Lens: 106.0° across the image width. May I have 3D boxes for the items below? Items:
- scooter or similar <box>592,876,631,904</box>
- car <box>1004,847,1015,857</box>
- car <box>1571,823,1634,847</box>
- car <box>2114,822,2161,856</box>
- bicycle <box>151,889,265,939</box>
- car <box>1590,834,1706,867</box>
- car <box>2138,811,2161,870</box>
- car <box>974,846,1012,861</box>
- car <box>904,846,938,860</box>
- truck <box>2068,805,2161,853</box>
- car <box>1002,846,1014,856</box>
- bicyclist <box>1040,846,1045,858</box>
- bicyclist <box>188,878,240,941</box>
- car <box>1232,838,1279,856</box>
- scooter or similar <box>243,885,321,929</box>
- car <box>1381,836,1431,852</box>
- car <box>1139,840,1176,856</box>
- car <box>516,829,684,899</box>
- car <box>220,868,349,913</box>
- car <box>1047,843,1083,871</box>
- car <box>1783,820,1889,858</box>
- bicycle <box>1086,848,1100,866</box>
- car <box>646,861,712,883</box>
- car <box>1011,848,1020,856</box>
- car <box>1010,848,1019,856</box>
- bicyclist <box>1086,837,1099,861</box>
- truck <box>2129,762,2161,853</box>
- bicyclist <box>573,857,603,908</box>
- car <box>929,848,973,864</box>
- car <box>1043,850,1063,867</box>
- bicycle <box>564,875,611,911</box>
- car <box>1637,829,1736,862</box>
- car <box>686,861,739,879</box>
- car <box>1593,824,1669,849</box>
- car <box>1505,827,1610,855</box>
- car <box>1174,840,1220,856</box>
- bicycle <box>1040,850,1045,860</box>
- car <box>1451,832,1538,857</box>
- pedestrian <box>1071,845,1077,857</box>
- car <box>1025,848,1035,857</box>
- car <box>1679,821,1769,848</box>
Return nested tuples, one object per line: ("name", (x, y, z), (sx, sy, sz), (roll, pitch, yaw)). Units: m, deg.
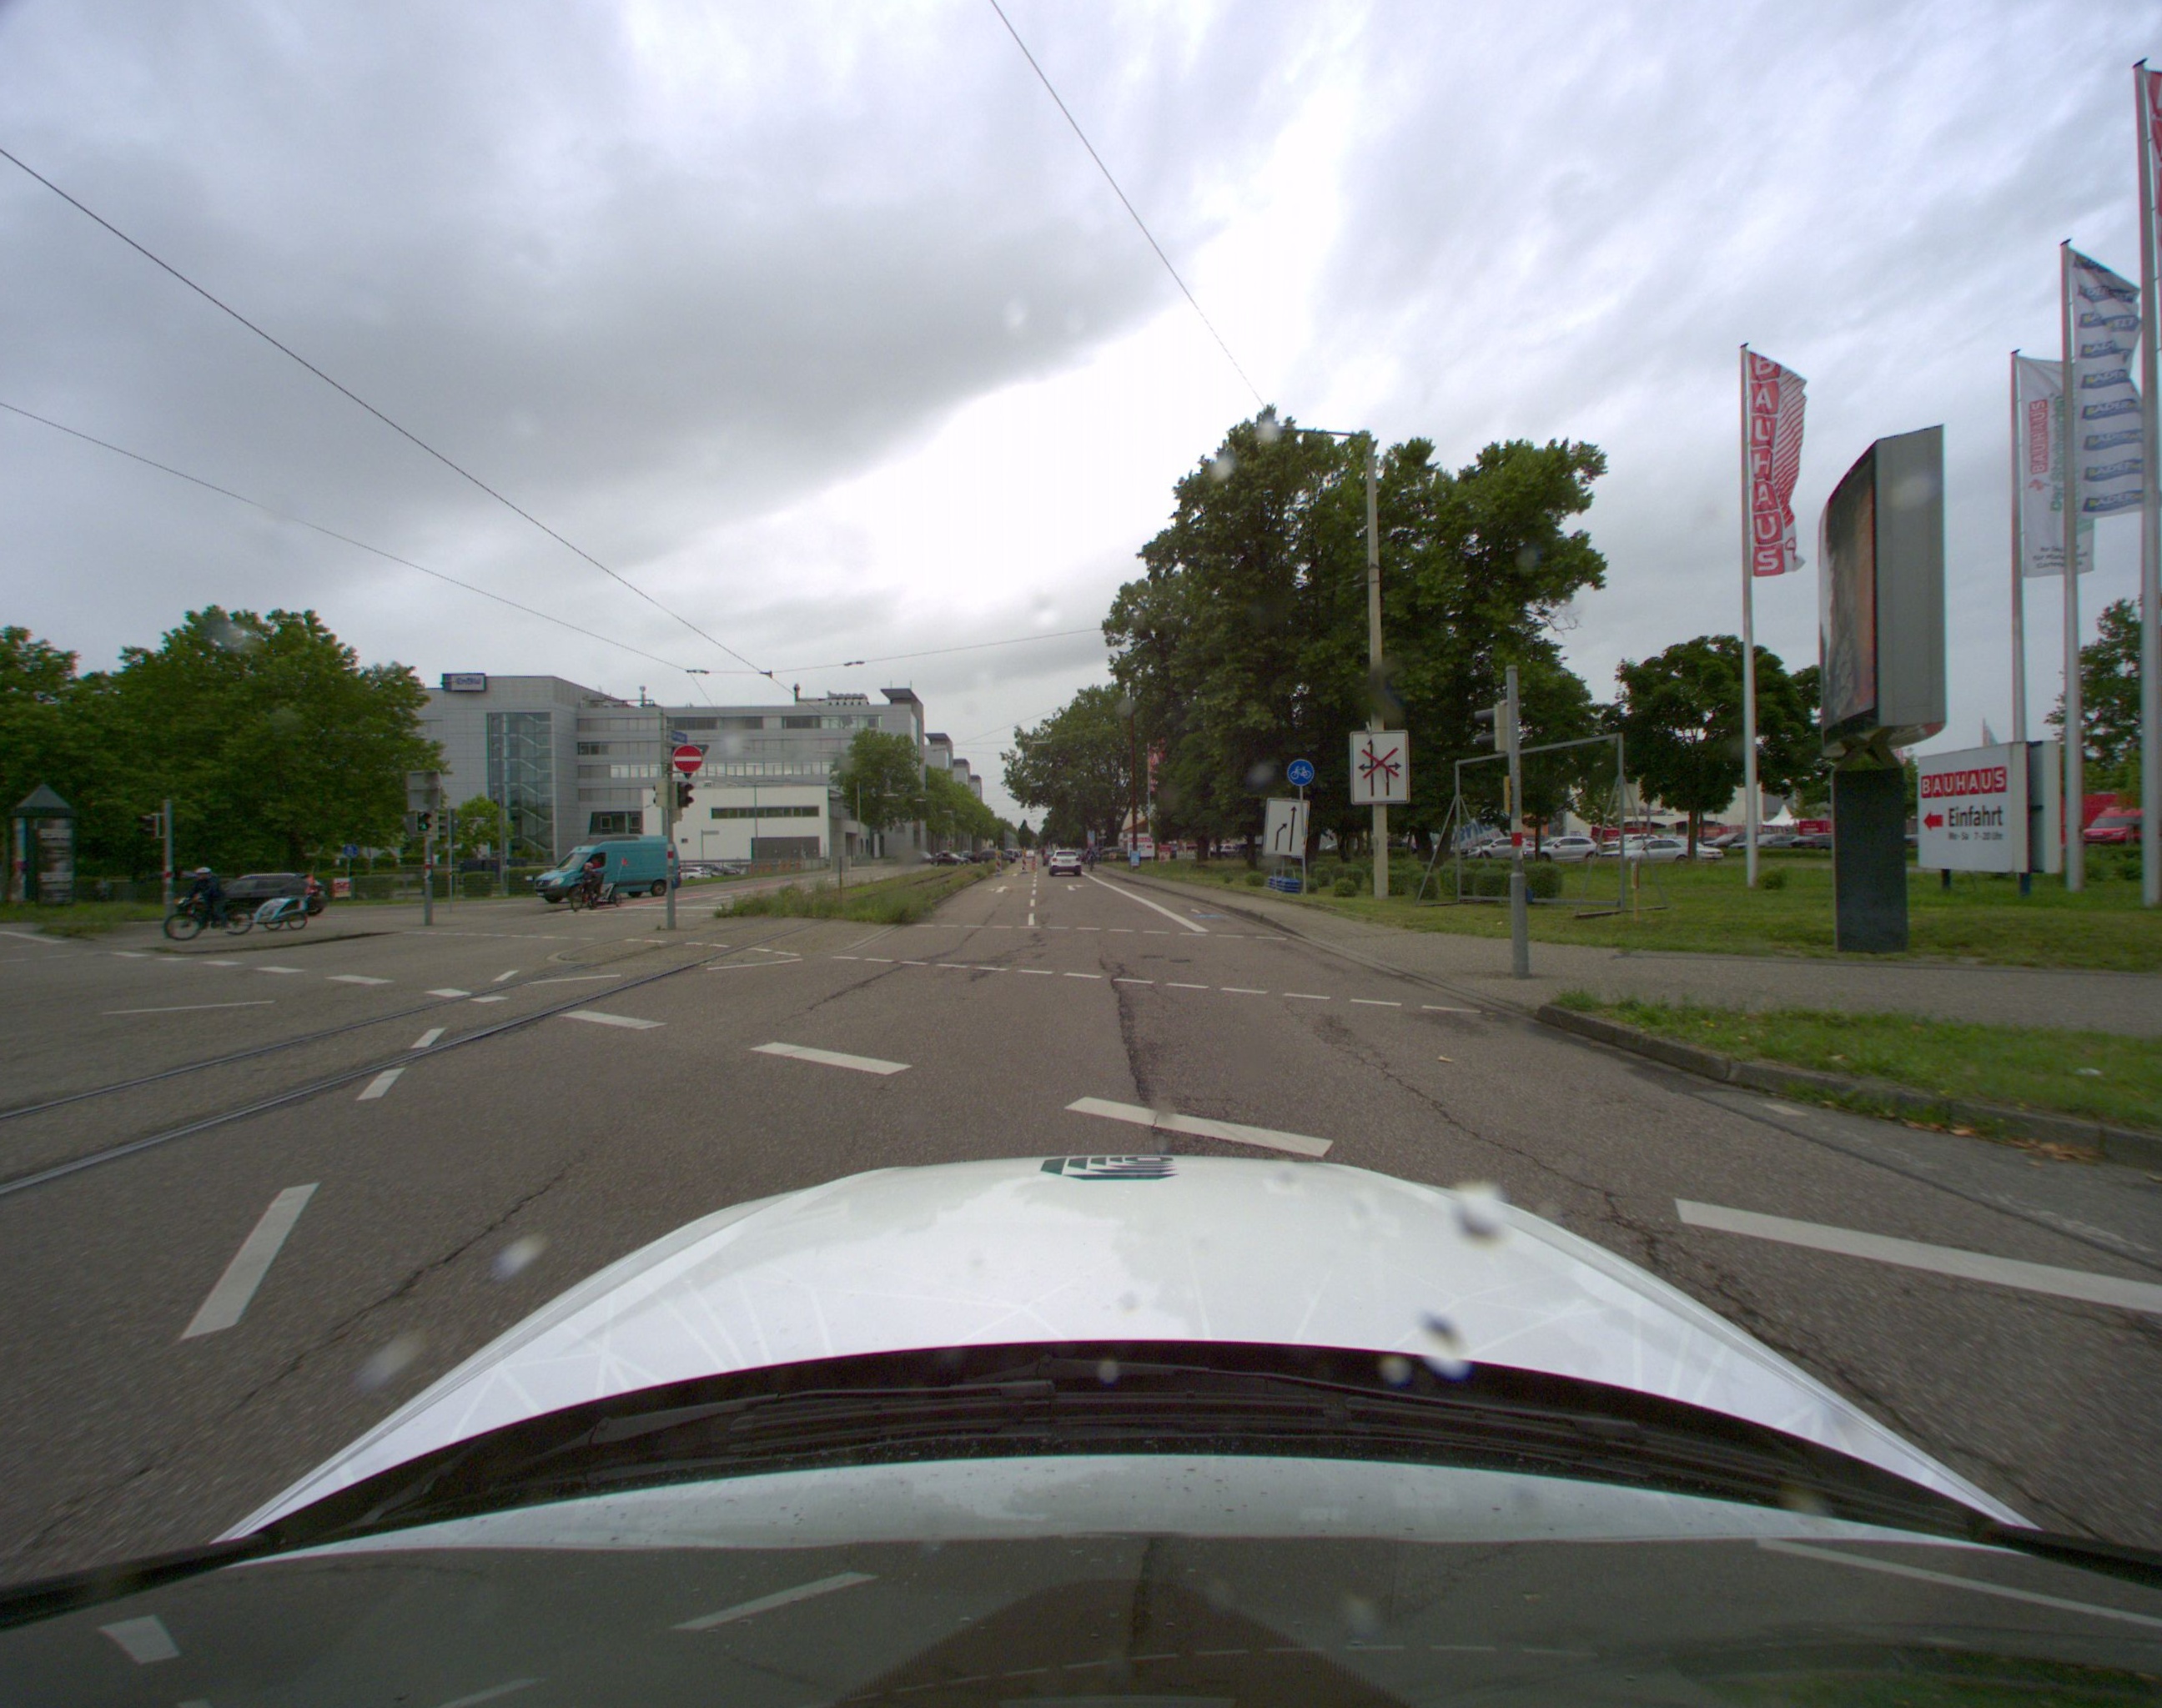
("scooter or similar", (-16.864, 1.285, 29.301), (0.844, 0.907, 1.194), (0, 1, -9))
("car", (-12.779, -0.420, 146.052), (1.874, 1.763, 3.994), (-2, 1, -4))
("car", (58.111, -2.112, 90.765), (5.731, 2.537, 2.071), (-2, 0, -4))
("car", (55.242, -0.789, 40.937), (4.551, 1.677, 2.149), (-2, 0, -9))
("bicycle", (-21.909, 1.475, 20.503), (0.642, 1.062, 2.003), (0, 1, 3))
("car", (26.987, -0.167, 38.819), (4.440, 1.497, 1.926), (0, 0, -8))
("car", (29.579, -0.326, 19.992), (4.579, 1.497, 1.933), (0, 0, 3))
("car", (-9.217, -0.043, 85.703), (3.875, 1.556, 1.823), (0, 0, -4))
("car", (-22.484, -0.172, 114.468), (4.371, 1.783, 1.836), (-2, 0, 26))
("truck", (61.888, -1.478, 46.966), (7.850, 2.635, 2.479), (-2, 0, -7))
("car", (-12.531, -0.534, 140.246), (1.874, 1.632, 3.994), (-2, 1, -4))
("bicyclist", (-5.911, -0.257, 125.055), (0.670, 1.815, 0.758), (0, 0, -6))
("bicyclist", (-21.906, 1.389, 20.588), (0.642, 1.518, 0.627), (0, 1, 3))
("car", (18.699, -0.725, 87.587), (4.543, 1.790, 2.071), (-1, 1, -4))
("scooter or similar", (-21.759, 1.432, 22.209), (0.642, 1.062, 1.451), (0, 1, 3))
("car", (35.098, -1.080, 88.105), (4.543, 1.572, 2.071), (-2, 0, -4))
("car", (8.861, -0.672, 94.600), (4.194, 1.677, 1.995), (-2, 0, 4))
("car", (-21.061, 0.365, 36.028), (2.306, 2.825, 5.985), (-1, 0, 28))
("car", (-29.336, 1.331, 30.025), (3.630, 1.527, 1.782), (-1, 0, 15))
("car", (-0.970, 0.129, 47.882), (1.821, 1.600, 3.768), (0, 1, -6))
("car", (43.887, -0.878, 47.384), (4.551, 2.051, 2.149), (-2, 0, -9))
("bicycle", (0.829, 0.197, 57.014), (0.815, 1.212, 2.680), (-2, 0, -3))
("car", (-33.398, 1.443, 67.751), (4.521, 1.634, 1.909), (-2, 0, -6))
("car", (-14.382, -0.469, 179.596), (1.874, 1.763, 3.994), (-2, 1, -4))
("car", (-14.279, -0.406, 174.383), (1.874, 1.763, 3.994), (-2, 1, -4))
("bicyclist", (0.811, -0.336, 57.009), (0.815, 1.630, 1.233), (-2, 0, -3))
("truck", (44.247, -1.831, 28.535), (2.933, 3.564, 9.238), (0, 0, -3))
("bicyclist", (-16.553, 0.957, 27.380), (0.645, 1.683, 0.683), (0, 1, -10))
("car", (-13.487, 0.242, 84.707), (4.083, 1.475, 1.834), (-3, -1, 19))
("car", (-2.646, 0.381, 77.011), (1.682, 1.513, 3.698), (0, 1, -6))
("bicycle", (-16.561, 1.285, 27.384), (0.645, 1.062, 2.018), (0, 1, -9))
("car", (32.639, -0.416, 44.100), (1.988, 1.670, 4.503), (0, 0, -1))
("car", (-33.520, 1.419, 74.149), (3.982, 1.485, 1.909), (-2, 0, -6))
("car", (41.955, -1.325, 62.215), (4.551, 1.677, 2.149), (-2, 0, -9))
("car", (26.361, -0.713, 45.116), (4.667, 1.497, 2.167), (0, 0, -5))
("car", (12.322, -0.641, 86.619), (4.543, 1.572, 1.990), (-2, 0, -4))
("bicycle", (-5.907, 0.138, 125.030), (0.670, 1.393, 2.162), (0, 1, -6))
("car", (25.761, -0.591, 50.787), (4.527, 1.497, 1.955), (0, 0, -8))
("pedestrian", (-1.045, -0.499, 119.503), (0.760, 1.704, 0.679), (-2, 0, -8))
("car", (-9.686, -0.301, 155.365), (1.793, 1.513, 3.698), (0, 1, -6))
("car", (42.497, -1.272, 53.880), (4.551, 1.677, 2.149), (-2, 0, -9))
